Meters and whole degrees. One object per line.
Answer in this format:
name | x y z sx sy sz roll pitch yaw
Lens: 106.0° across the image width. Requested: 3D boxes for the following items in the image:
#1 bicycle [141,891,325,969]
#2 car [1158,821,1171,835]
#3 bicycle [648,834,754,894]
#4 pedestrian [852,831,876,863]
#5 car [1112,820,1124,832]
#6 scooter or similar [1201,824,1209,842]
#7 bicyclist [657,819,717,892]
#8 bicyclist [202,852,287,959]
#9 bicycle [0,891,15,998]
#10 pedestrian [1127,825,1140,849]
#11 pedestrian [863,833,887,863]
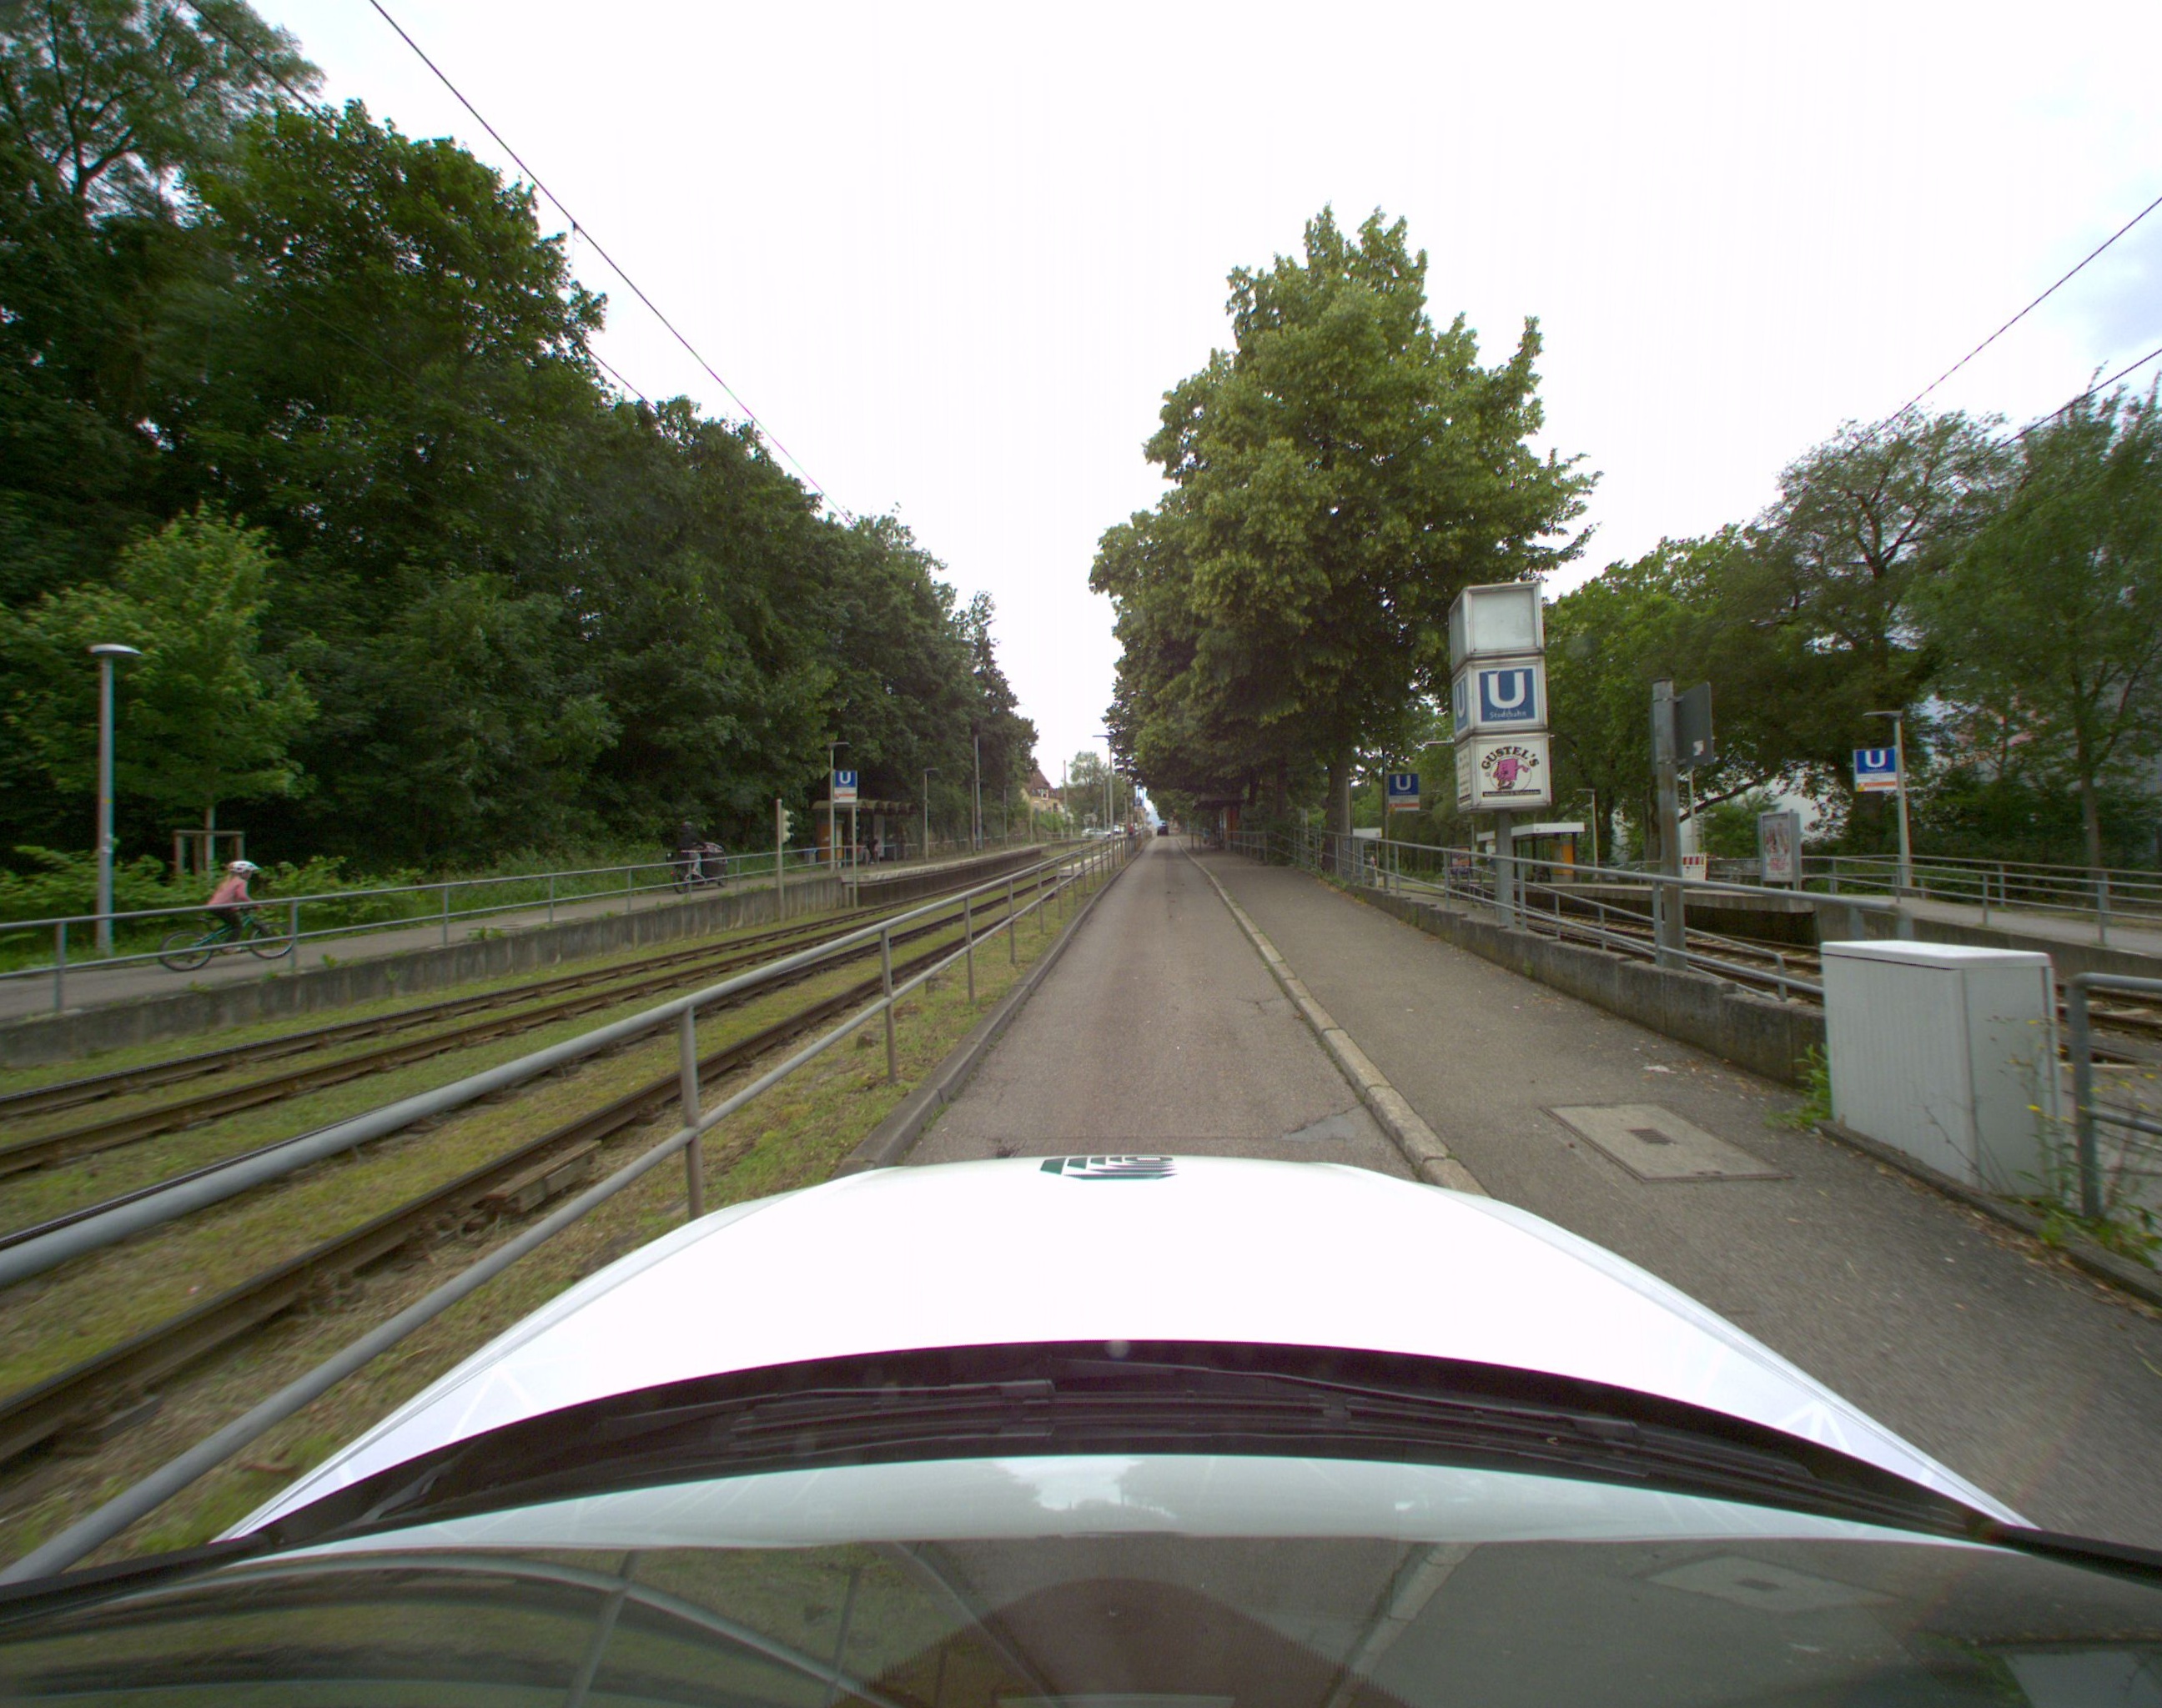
bicycle | -10.883 0.945 10.530 0.449 0.738 1.567 2 4 21
car | 13.315 -4.127 130.453 1.984 2.145 4.006 2 0 6
bicycle | -9.661 0.196 20.931 0.729 1.289 3.356 2 3 9
pedestrian | -9.443 -0.307 35.485 0.768 1.326 0.788 2 2 5
car | 7.207 -5.315 156.908 1.984 2.145 4.006 2 0 6
scooter or similar | 8.198 -1.363 53.918 0.341 1.157 1.146 2 -1 0
bicyclist | -9.772 0.012 20.261 0.729 1.711 1.296 2 3 9
bicyclist | -10.853 0.652 10.578 0.449 1.300 0.584 2 4 20
bicycle | -11.599 0.933 7.623 0.469 1.041 1.957 3 2 36
pedestrian | 3.076 -1.000 47.784 0.738 1.409 0.748 2 3 5
pedestrian | -9.267 -0.283 36.715 0.768 1.326 0.788 2 -1 5
